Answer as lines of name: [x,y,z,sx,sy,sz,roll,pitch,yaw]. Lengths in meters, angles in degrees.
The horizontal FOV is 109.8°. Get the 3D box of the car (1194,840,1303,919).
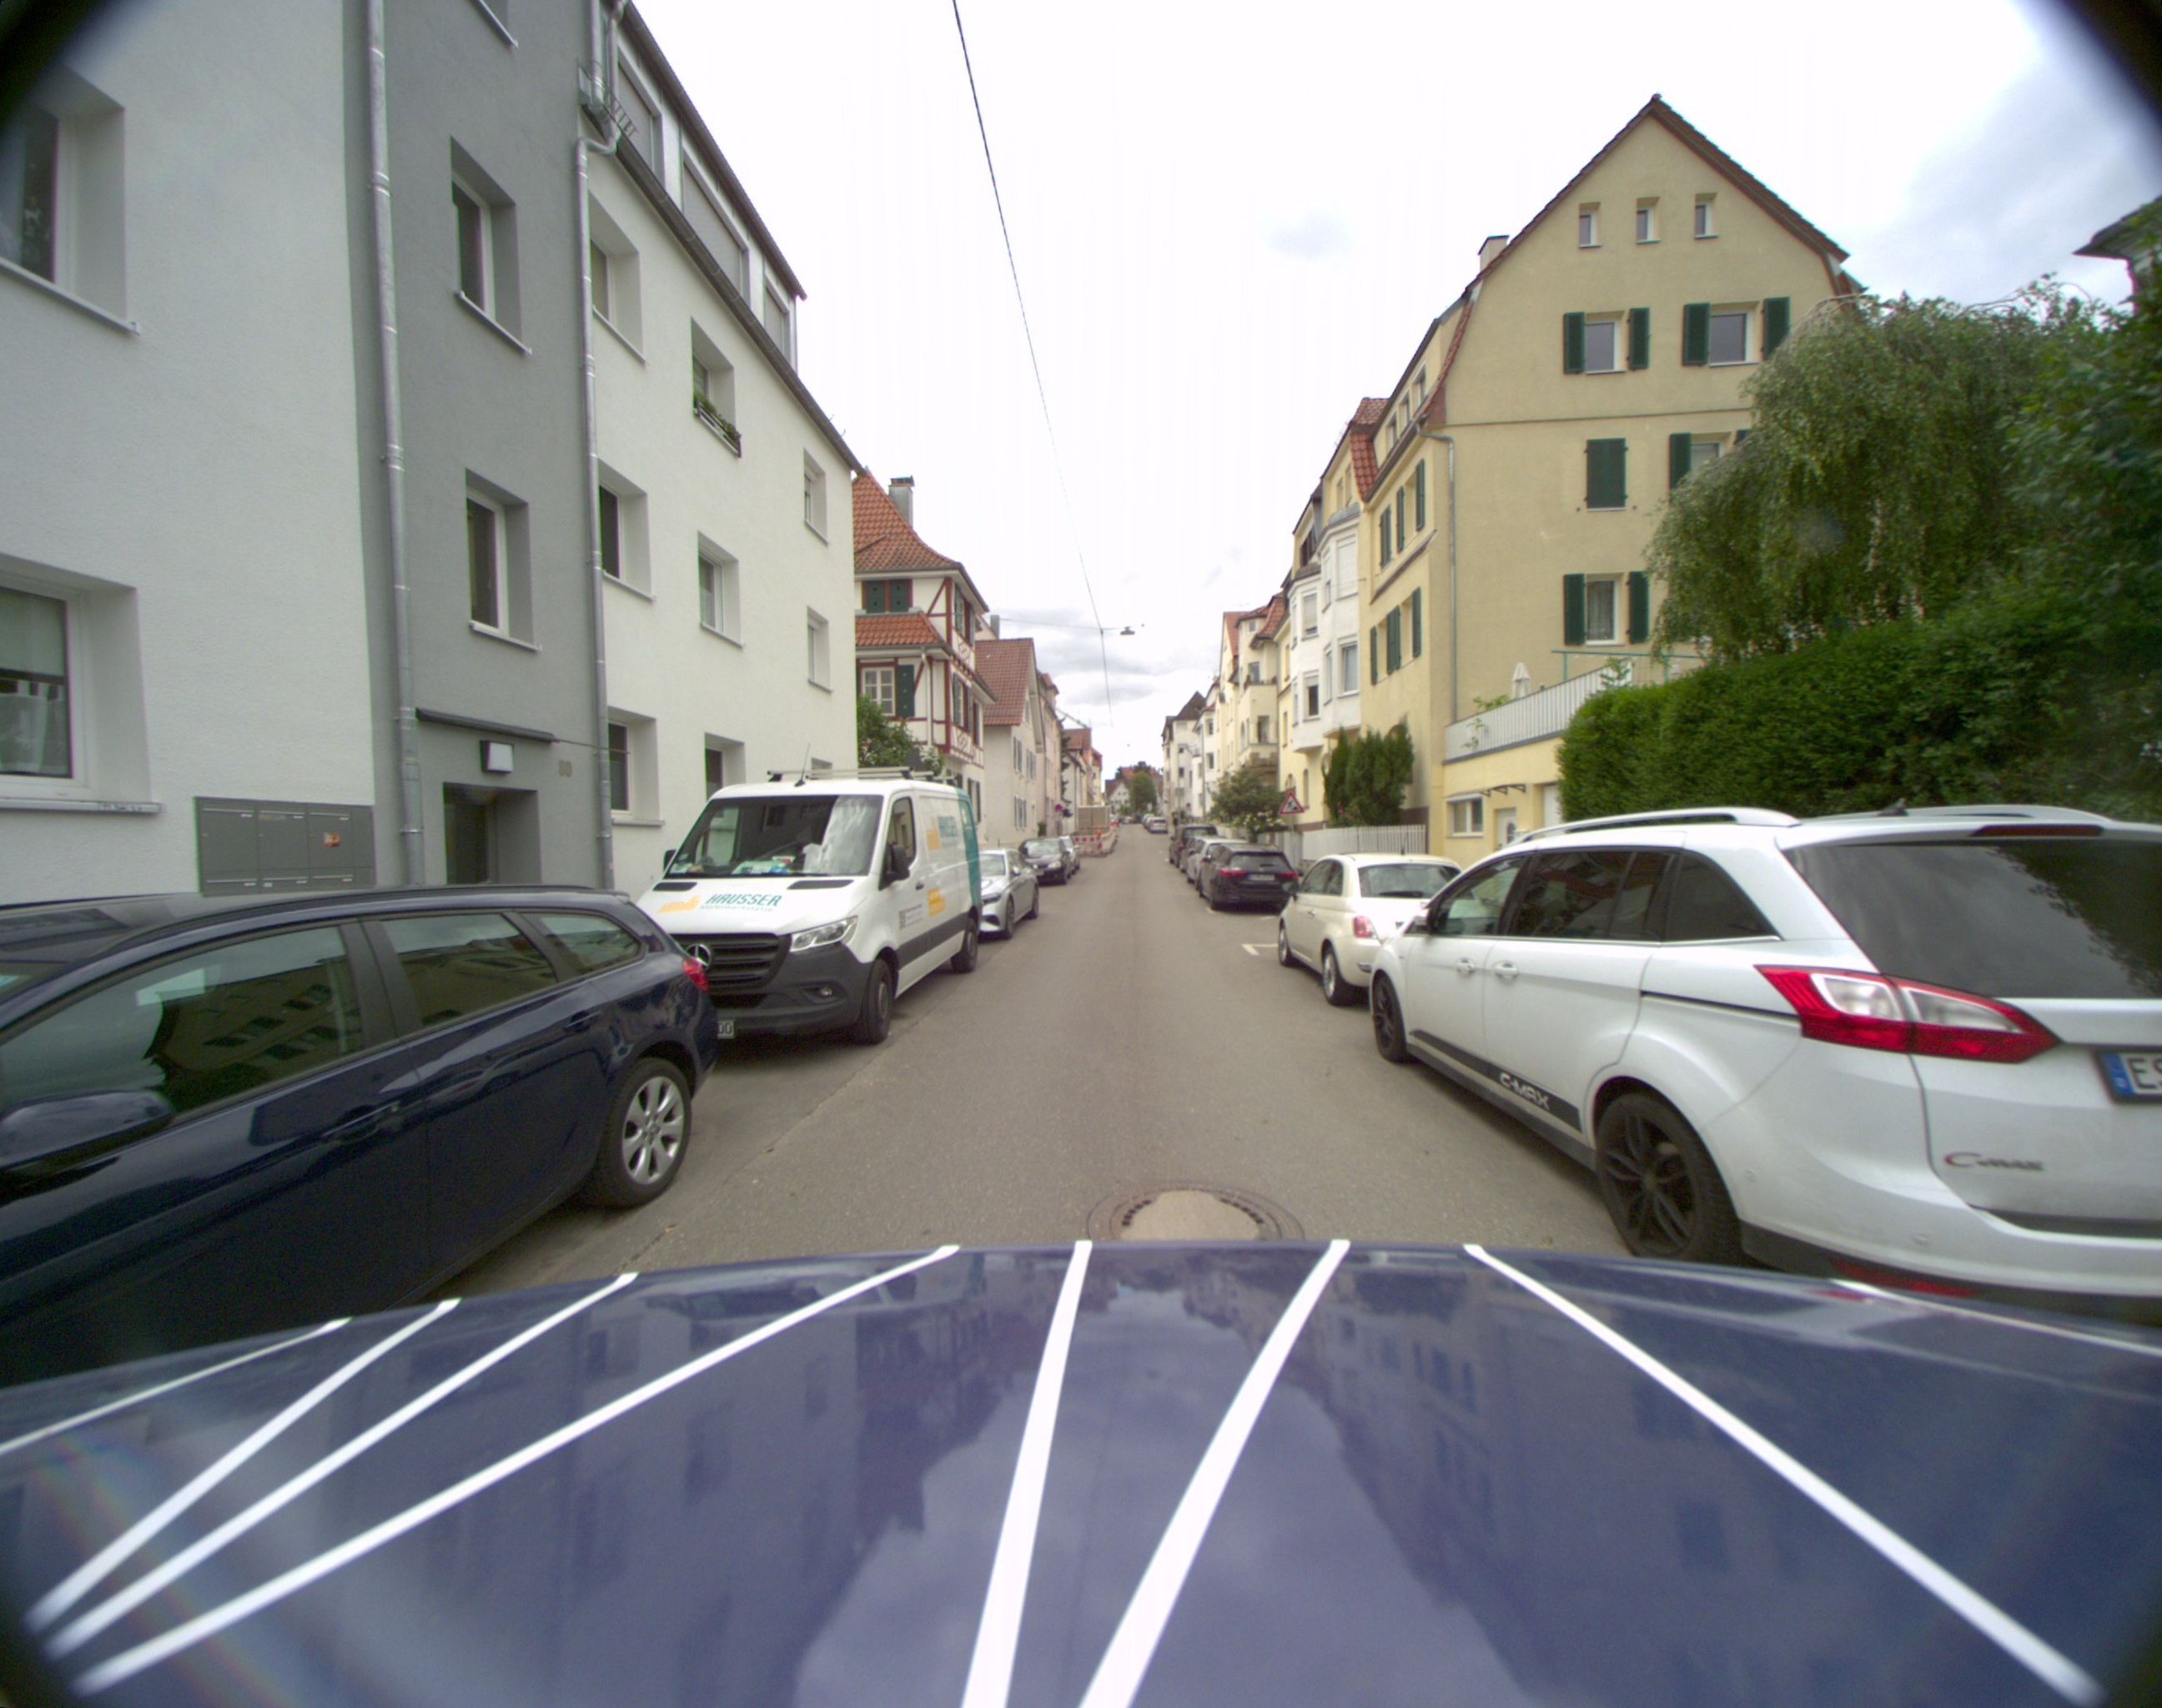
car: [3.696,0.475,17.512,1.806,1.472,4.328,-1,2,4]

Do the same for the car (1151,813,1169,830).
car: [7.905,-3.259,76.337,1.662,1.558,3.999,-1,4,5]

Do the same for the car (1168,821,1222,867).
car: [4.785,-0.492,32.395,1.753,1.787,4.147,0,3,1]

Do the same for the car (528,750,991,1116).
car: [-2.450,0.437,7.678,1.998,2.409,5.292,-1,2,5]

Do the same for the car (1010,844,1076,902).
car: [-1.151,0.545,24.929,1.781,1.710,4.000,-2,1,2]

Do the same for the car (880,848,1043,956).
car: [-1.924,0.717,13.687,1.828,1.437,4.383,-2,2,5]

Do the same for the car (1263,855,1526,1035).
car: [3.214,0.814,8.567,1.610,1.445,3.613,1,2,3]

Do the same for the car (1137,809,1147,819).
car: [10.881,-7.187,135.911,1.782,1.558,3.999,-1,4,5]

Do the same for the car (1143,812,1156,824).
car: [9.840,-5.196,108.557,1.782,1.558,3.999,-1,4,5]

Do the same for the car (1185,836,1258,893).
car: [4.078,0.242,22.636,1.642,1.421,4.122,0,3,3]

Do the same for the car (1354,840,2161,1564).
car: [2.903,0.775,3.773,1.808,1.650,4.152,-1,1,3]

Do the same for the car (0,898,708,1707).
car: [-2.968,1.028,1.855,1.823,1.477,4.286,-1,1,2]

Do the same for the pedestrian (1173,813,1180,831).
pedestrian: [9.140,-3.058,72.633,0.617,1.647,0.812,-2,3,5]

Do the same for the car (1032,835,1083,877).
car: [-0.861,0.018,29.974,1.629,1.385,4.235,-2,2,3]

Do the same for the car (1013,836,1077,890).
car: [-1.109,0.225,25.157,1.608,1.481,4.022,-2,3,4]

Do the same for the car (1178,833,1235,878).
car: [4.498,-0.010,27.681,1.642,1.391,3.702,1,3,3]

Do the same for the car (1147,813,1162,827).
car: [8.854,-4.094,91.899,1.782,1.558,3.999,-1,4,5]
